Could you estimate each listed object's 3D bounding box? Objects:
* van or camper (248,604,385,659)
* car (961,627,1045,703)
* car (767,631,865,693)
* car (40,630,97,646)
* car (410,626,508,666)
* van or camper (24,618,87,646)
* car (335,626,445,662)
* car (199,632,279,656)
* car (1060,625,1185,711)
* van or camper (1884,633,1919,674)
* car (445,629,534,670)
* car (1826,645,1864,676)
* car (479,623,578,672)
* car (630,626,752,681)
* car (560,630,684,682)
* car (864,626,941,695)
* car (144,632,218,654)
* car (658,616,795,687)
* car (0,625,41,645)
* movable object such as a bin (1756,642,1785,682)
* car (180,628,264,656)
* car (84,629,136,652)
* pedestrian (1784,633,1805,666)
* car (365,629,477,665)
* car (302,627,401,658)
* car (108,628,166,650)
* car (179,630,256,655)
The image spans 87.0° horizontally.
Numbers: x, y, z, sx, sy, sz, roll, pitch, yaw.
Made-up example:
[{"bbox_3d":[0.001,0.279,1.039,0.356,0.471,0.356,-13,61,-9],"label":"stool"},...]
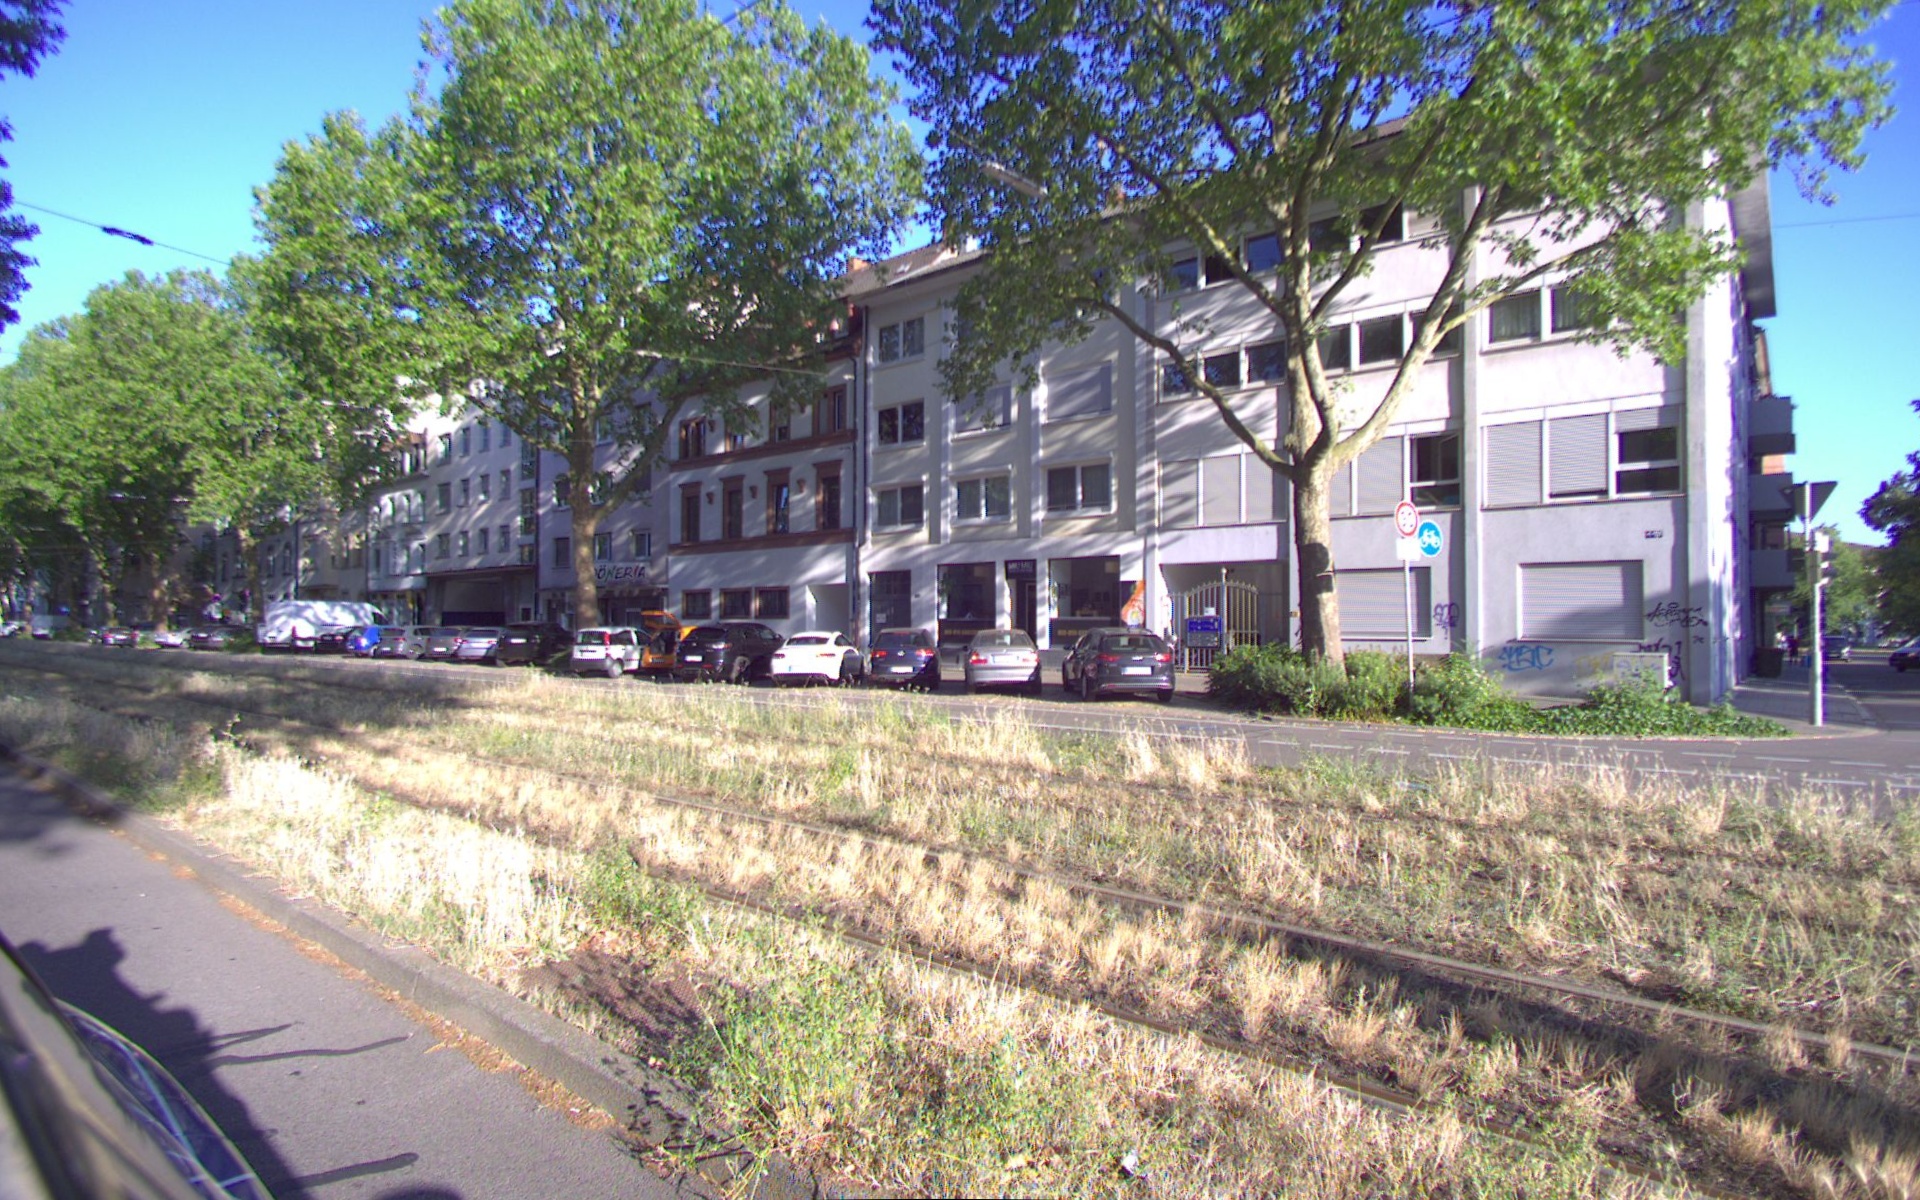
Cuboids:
[{"bbox_3d":[-33.111,1.646,52.366,2.162,2.666,5.929,-1,-2,19],"label":"van or camper"},{"bbox_3d":[0.899,1.428,23.278,1.698,1.452,4.000,-1,0,-1],"label":"car"},{"bbox_3d":[-3.695,1.579,26.687,1.700,1.343,4.200,-1,0,4],"label":"car"},{"bbox_3d":[-86.019,3.627,97.688,1.709,1.256,3.993,-1,1,6],"label":"car"},{"bbox_3d":[-20.540,1.848,41.669,1.735,1.433,3.993,-1,0,6],"label":"car"},{"bbox_3d":[-88.325,3.092,98.891,2.171,2.418,4.364,-1,1,0],"label":"van or camper"},{"bbox_3d":[-25.964,1.991,46.189,1.854,1.431,3.951,-1,0,36],"label":"car"},{"bbox_3d":[-43.003,2.639,60.446,1.778,1.368,4.002,0,-3,3],"label":"car"},{"bbox_3d":[3.294,1.342,21.288,1.791,1.490,4.002,-1,0,-2],"label":"car"},{"bbox_3d":[50.043,2.675,50.793,5.075,2.029,1.995,0,-2,8],"label":"van or camper"},{"bbox_3d":[-18.300,1.887,39.570,1.883,1.396,4.004,-1,-1,-5],"label":"car"},{"bbox_3d":[63.358,4.303,72.466,1.999,2.029,3.945,-1,-2,41],"label":"car"},{"bbox_3d":[-15.683,1.691,37.017,1.972,1.673,4.000,-1,-1,-1],"label":"car"},{"bbox_3d":[-8.362,1.626,31.794,1.764,1.490,3.974,-1,0,20],"label":"car"},{"bbox_3d":[-10.464,1.693,31.695,1.643,1.460,4.345,0,-1,14],"label":"car"},{"bbox_3d":[-1.442,1.465,25.682,1.776,1.452,4.002,-1,0,-3],"label":"car"},{"bbox_3d":[-51.788,2.830,67.341,1.806,1.400,3.670,0,-2,9],"label":"car"},{"bbox_3d":[-6.460,1.467,28.606,1.975,1.800,4.343,1,-3,14],"label":"car"},{"bbox_3d":[-107.383,3.983,115.154,1.971,2.029,4.002,-1,0,-2],"label":"car"},{"bbox_3d":[27.824,2.118,34.741,0.745,1.315,0.861,-1,-2,39],"label":"movable object such as a bin"},{"bbox_3d":[-45.531,2.610,62.547,1.912,1.605,4.155,0,-4,4],"label":"car"},{"bbox_3d":[-56.593,2.691,67.350,4.480,1.400,1.802,-1,-4,40],"label":"car"},{"bbox_3d":[45.311,2.662,54.944,0.685,1.764,0.637,-1,-2,27],"label":"pedestrian"},{"bbox_3d":[-23.603,2.041,44.434,1.941,1.503,3.964,-1,-2,27],"label":"car"},{"bbox_3d":[-30.748,2.128,51.253,1.984,1.502,3.975,-1,-2,18],"label":"car"},{"bbox_3d":[-63.512,3.036,78.206,1.703,1.666,4.008,0,-2,-10],"label":"car"},{"bbox_3d":[-47.731,2.786,65.175,1.803,1.545,3.994,0,-3,4],"label":"car"}]
